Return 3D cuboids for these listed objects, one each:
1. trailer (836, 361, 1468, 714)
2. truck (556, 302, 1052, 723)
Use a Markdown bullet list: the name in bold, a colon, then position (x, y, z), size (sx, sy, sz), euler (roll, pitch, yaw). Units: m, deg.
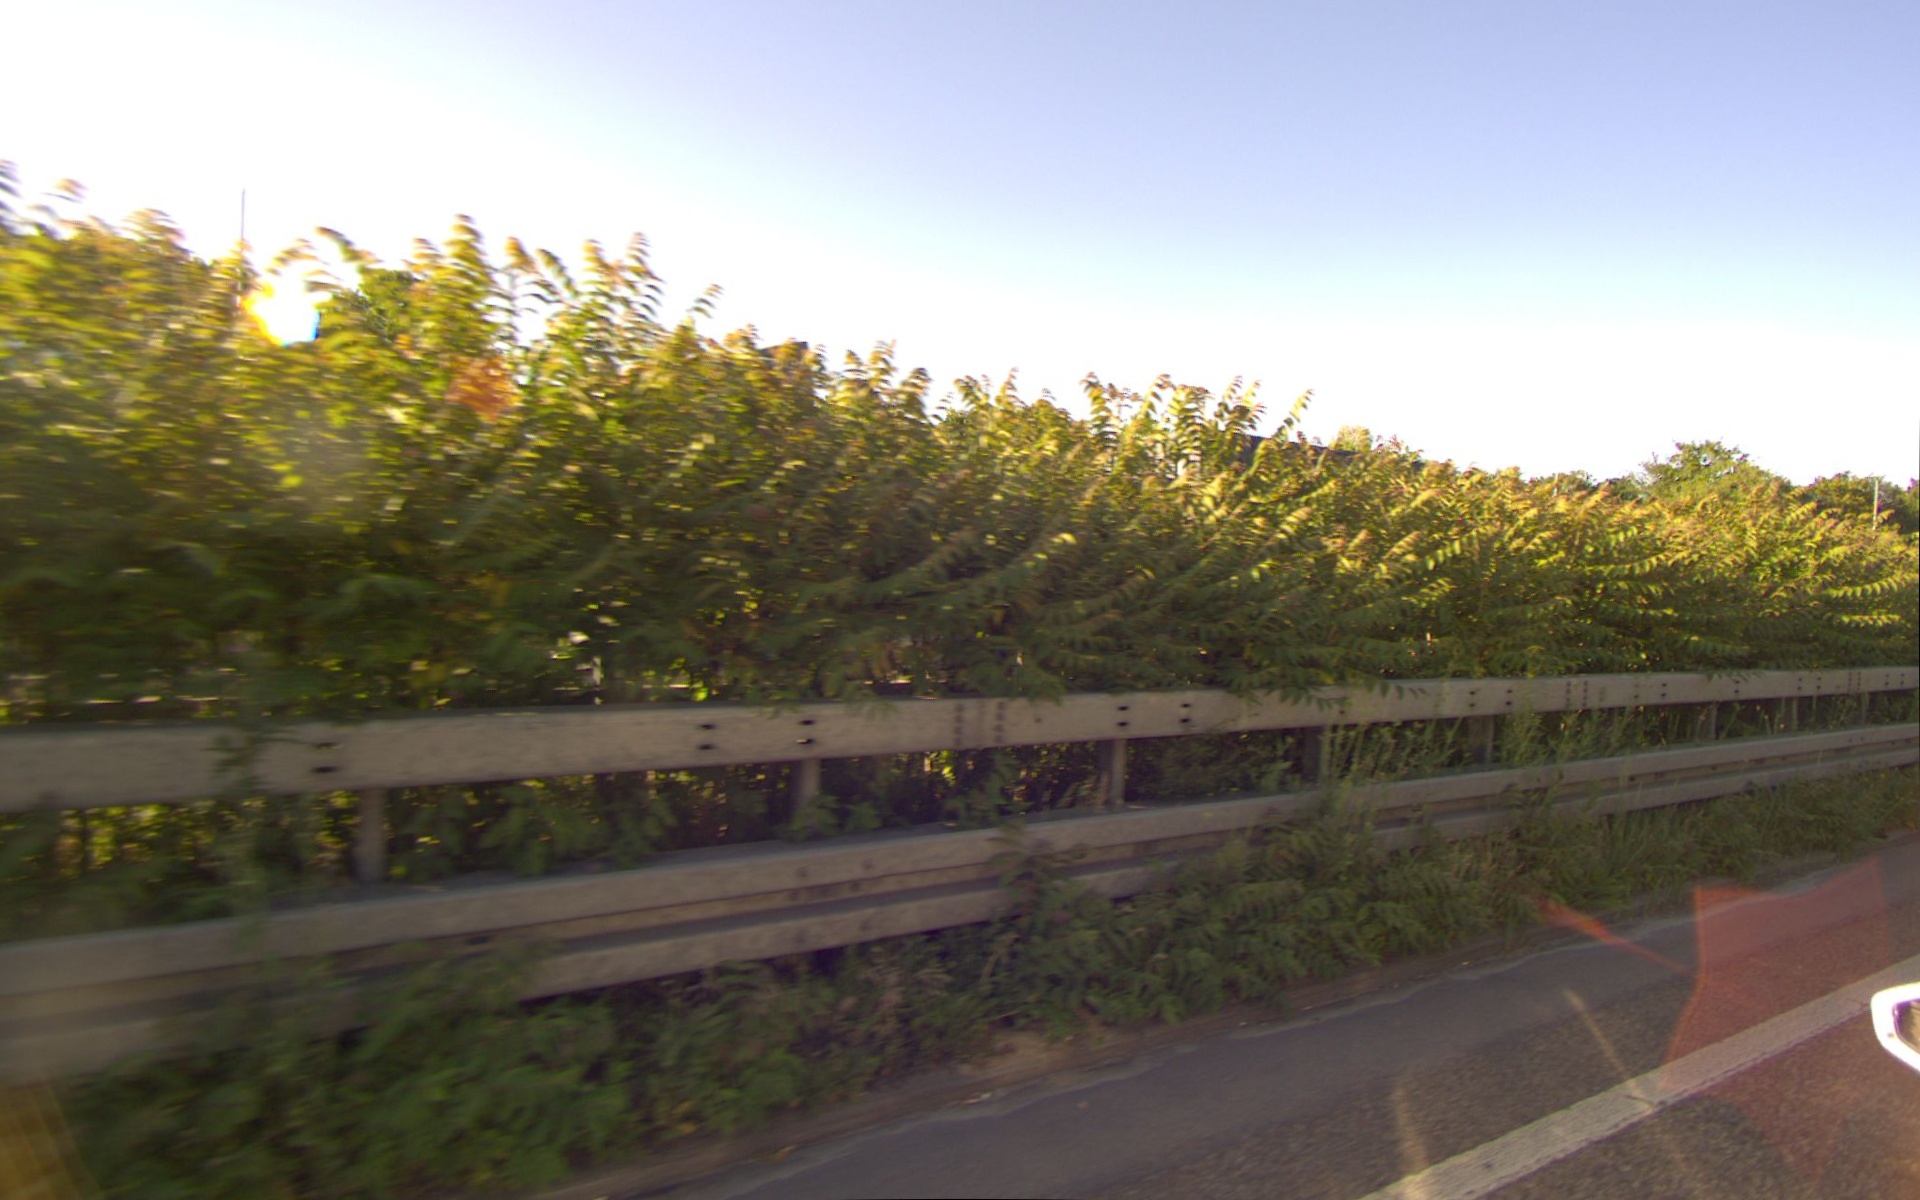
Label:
- **trailer**: position (3.487, -0.681, 15.740), size (10.574, 4.179, 2.635), euler (1, 1, -31)
- **truck**: position (-1.888, -0.847, 12.518), size (5.497, 4.179, 2.635), euler (1, 1, -31)
